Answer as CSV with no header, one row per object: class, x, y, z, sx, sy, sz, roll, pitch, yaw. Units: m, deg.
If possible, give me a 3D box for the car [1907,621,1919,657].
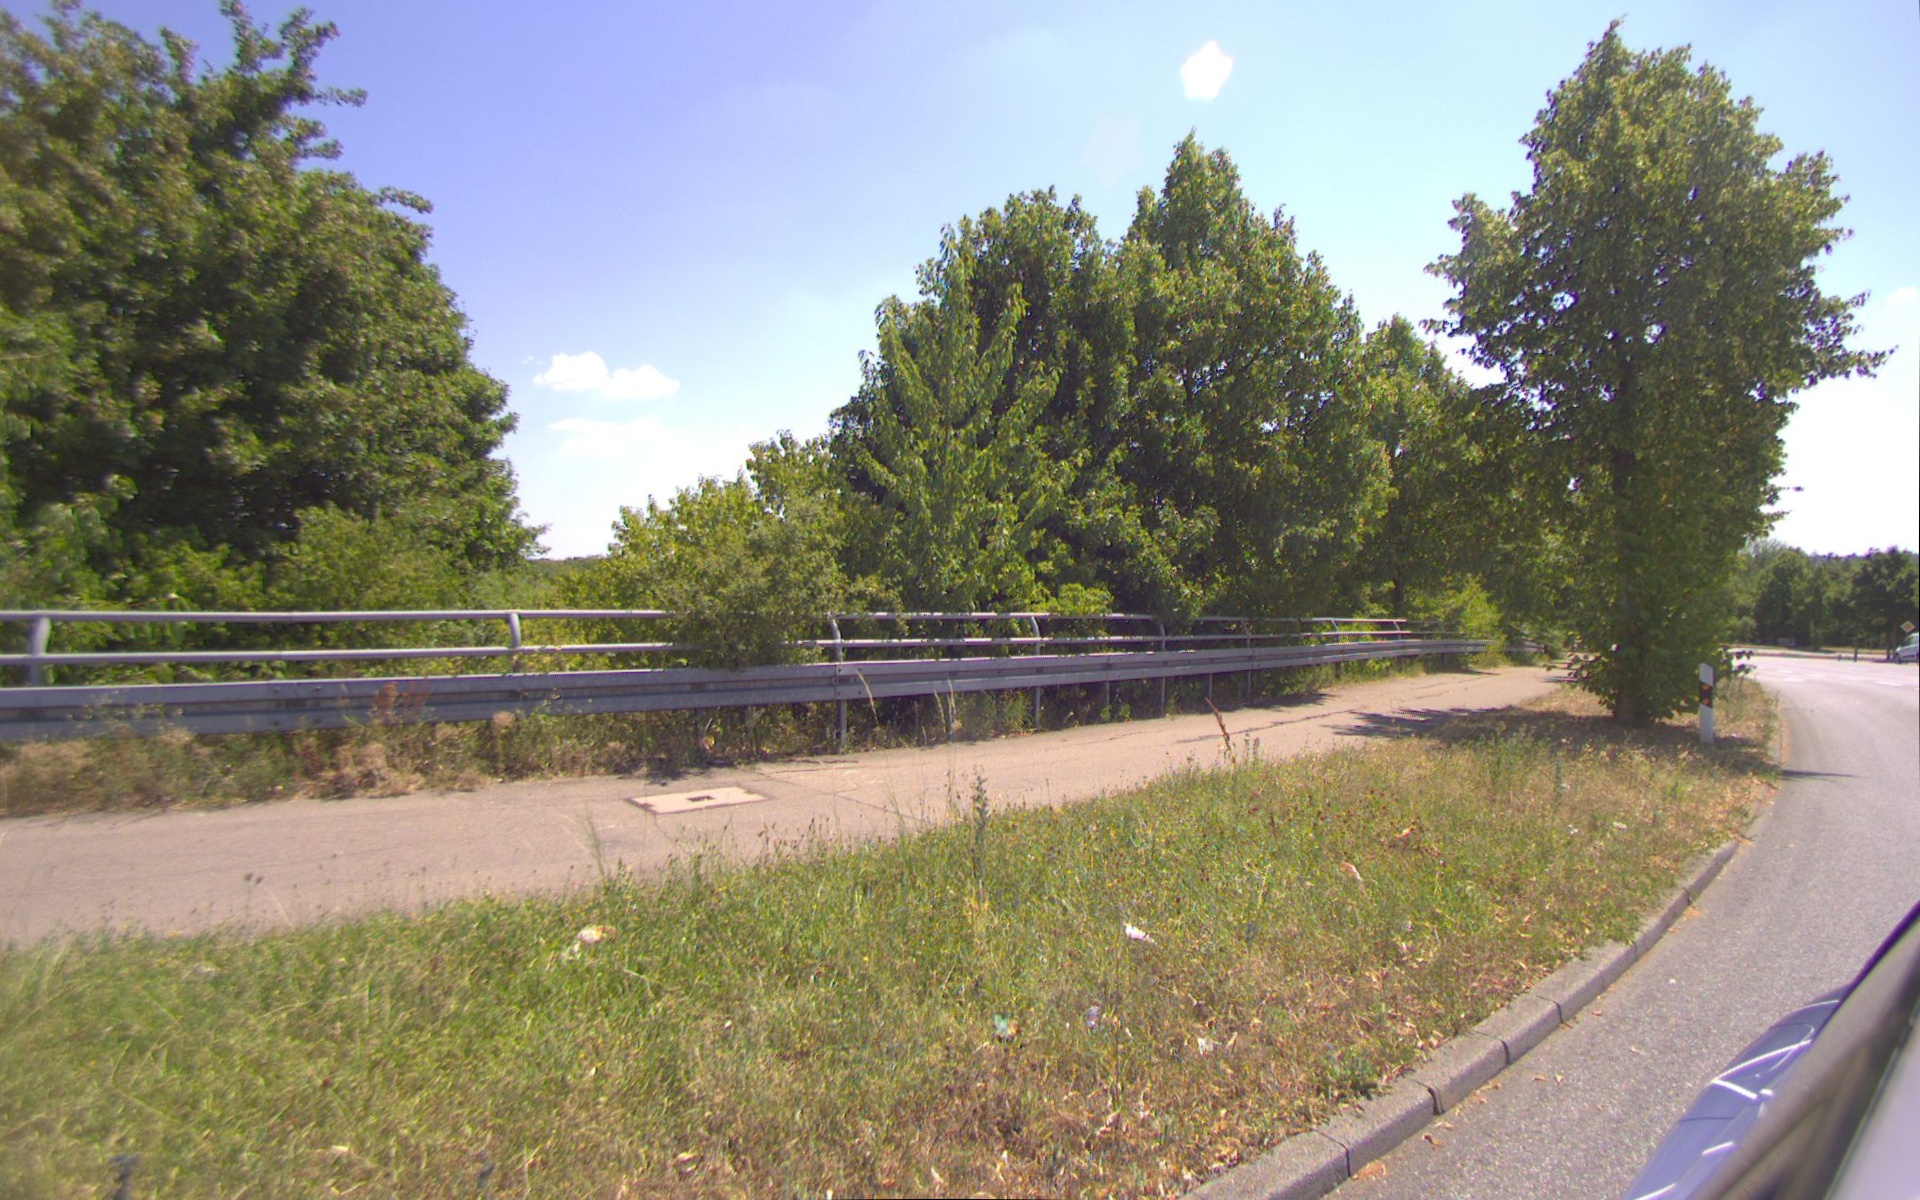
car,54.082,2.209,55.497,1.980,1.985,3.965,0,0,26
